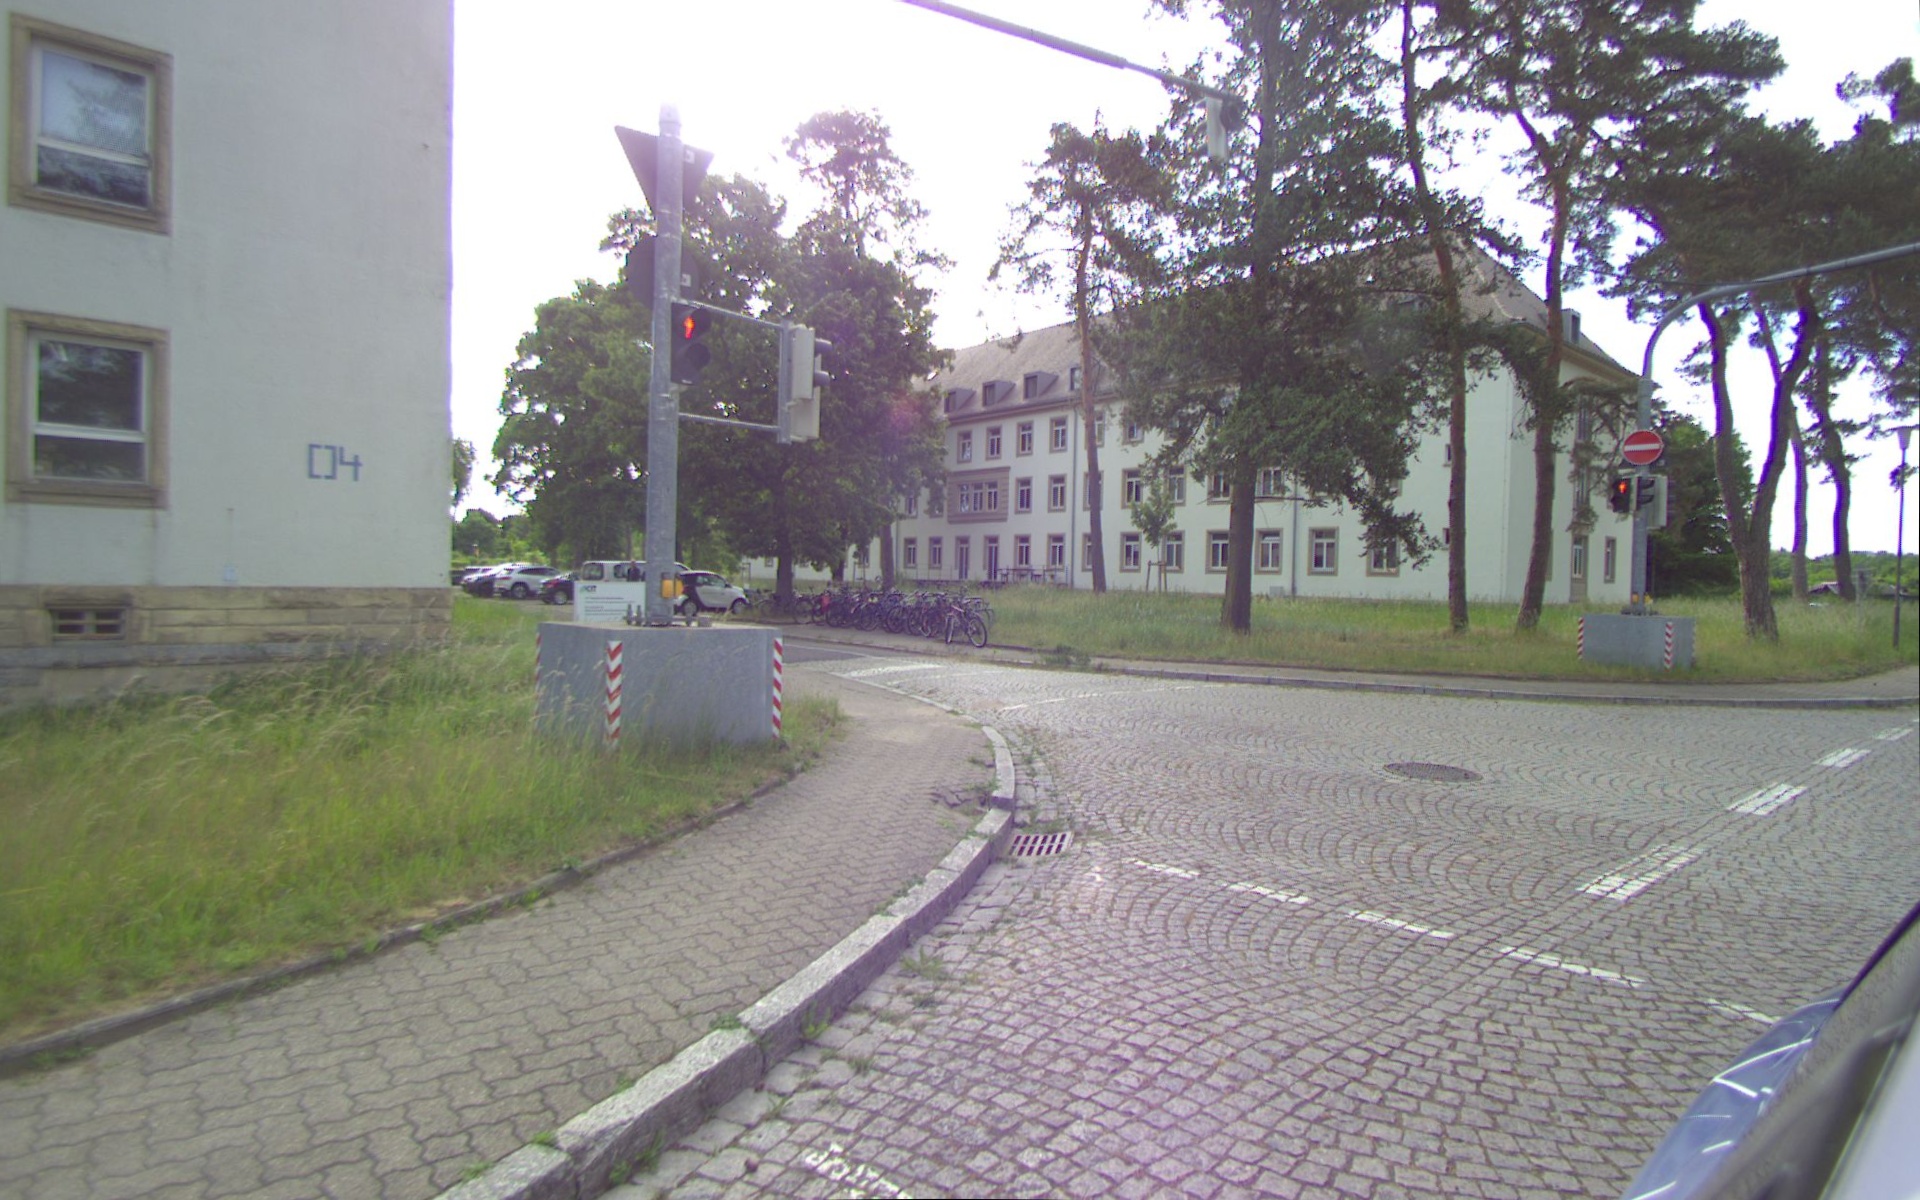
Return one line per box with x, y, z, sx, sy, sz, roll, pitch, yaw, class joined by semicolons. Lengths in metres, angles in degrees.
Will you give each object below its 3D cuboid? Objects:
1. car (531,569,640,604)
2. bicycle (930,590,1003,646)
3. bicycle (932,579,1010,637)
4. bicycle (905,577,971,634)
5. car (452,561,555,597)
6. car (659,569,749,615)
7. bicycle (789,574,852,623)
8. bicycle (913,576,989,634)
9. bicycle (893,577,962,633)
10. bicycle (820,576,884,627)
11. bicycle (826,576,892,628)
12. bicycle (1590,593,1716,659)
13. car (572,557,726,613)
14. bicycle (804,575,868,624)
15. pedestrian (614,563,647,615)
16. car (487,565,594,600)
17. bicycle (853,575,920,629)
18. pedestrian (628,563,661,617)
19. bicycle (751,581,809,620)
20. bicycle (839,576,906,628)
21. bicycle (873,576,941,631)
-16.401;-0.593;44.439;4.180;1.433;1.690;0;2;-43;car
0.120;0.371;21.716;0.562;1.098;1.837;-2;3;-36;bicycle
0.272;0.183;24.093;1.802;1.348;0.573;0;1;-33;bicycle
-0.524;0.114;24.888;0.481;1.348;1.808;2;1;44;bicycle
-22.753;-1.035;50.482;4.310;1.739;1.998;0;2;-40;car
-8.924;-0.283;35.310;2.646;1.527;1.475;0;2;-40;car
-3.965;-0.048;28.855;0.571;1.348;1.808;2;1;44;bicycle
-0.214;0.116;24.499;1.802;1.348;0.573;0;1;-33;bicycle
-0.794;0.113;25.228;0.571;1.348;1.808;2;1;44;bicycle
-2.966;0.038;27.995;0.571;1.348;1.808;2;1;44;bicycle
-2.725;0.041;27.397;0.571;1.348;1.808;2;1;44;bicycle
12.704;0.449;18.595;0.563;1.098;1.835;-2;3;-41;bicycle
-11.359;-0.547;37.183;5.028;1.908;1.998;0;2;-41;car
-3.458;-0.022;28.355;0.571;1.348;1.808;2;1;44;bicycle
-11.427;-0.392;35.120;0.863;1.759;0.799;0;1;-36;pedestrian
-20.101;-0.844;48.579;4.392;1.612;1.775;0;1;-43;car
-1.914;0.050;26.397;0.571;1.348;1.808;2;1;44;bicycle
-10.673;-0.344;34.236;0.867;1.759;0.822;1;1;-1;pedestrian
-5.601;0.010;31.585;0.571;1.201;1.809;2;1;43;bicycle
-2.300;0.045;26.810;0.571;1.348;1.808;2;1;44;bicycle
-1.331;0.086;25.774;0.571;1.348;1.808;2;1;44;bicycle
